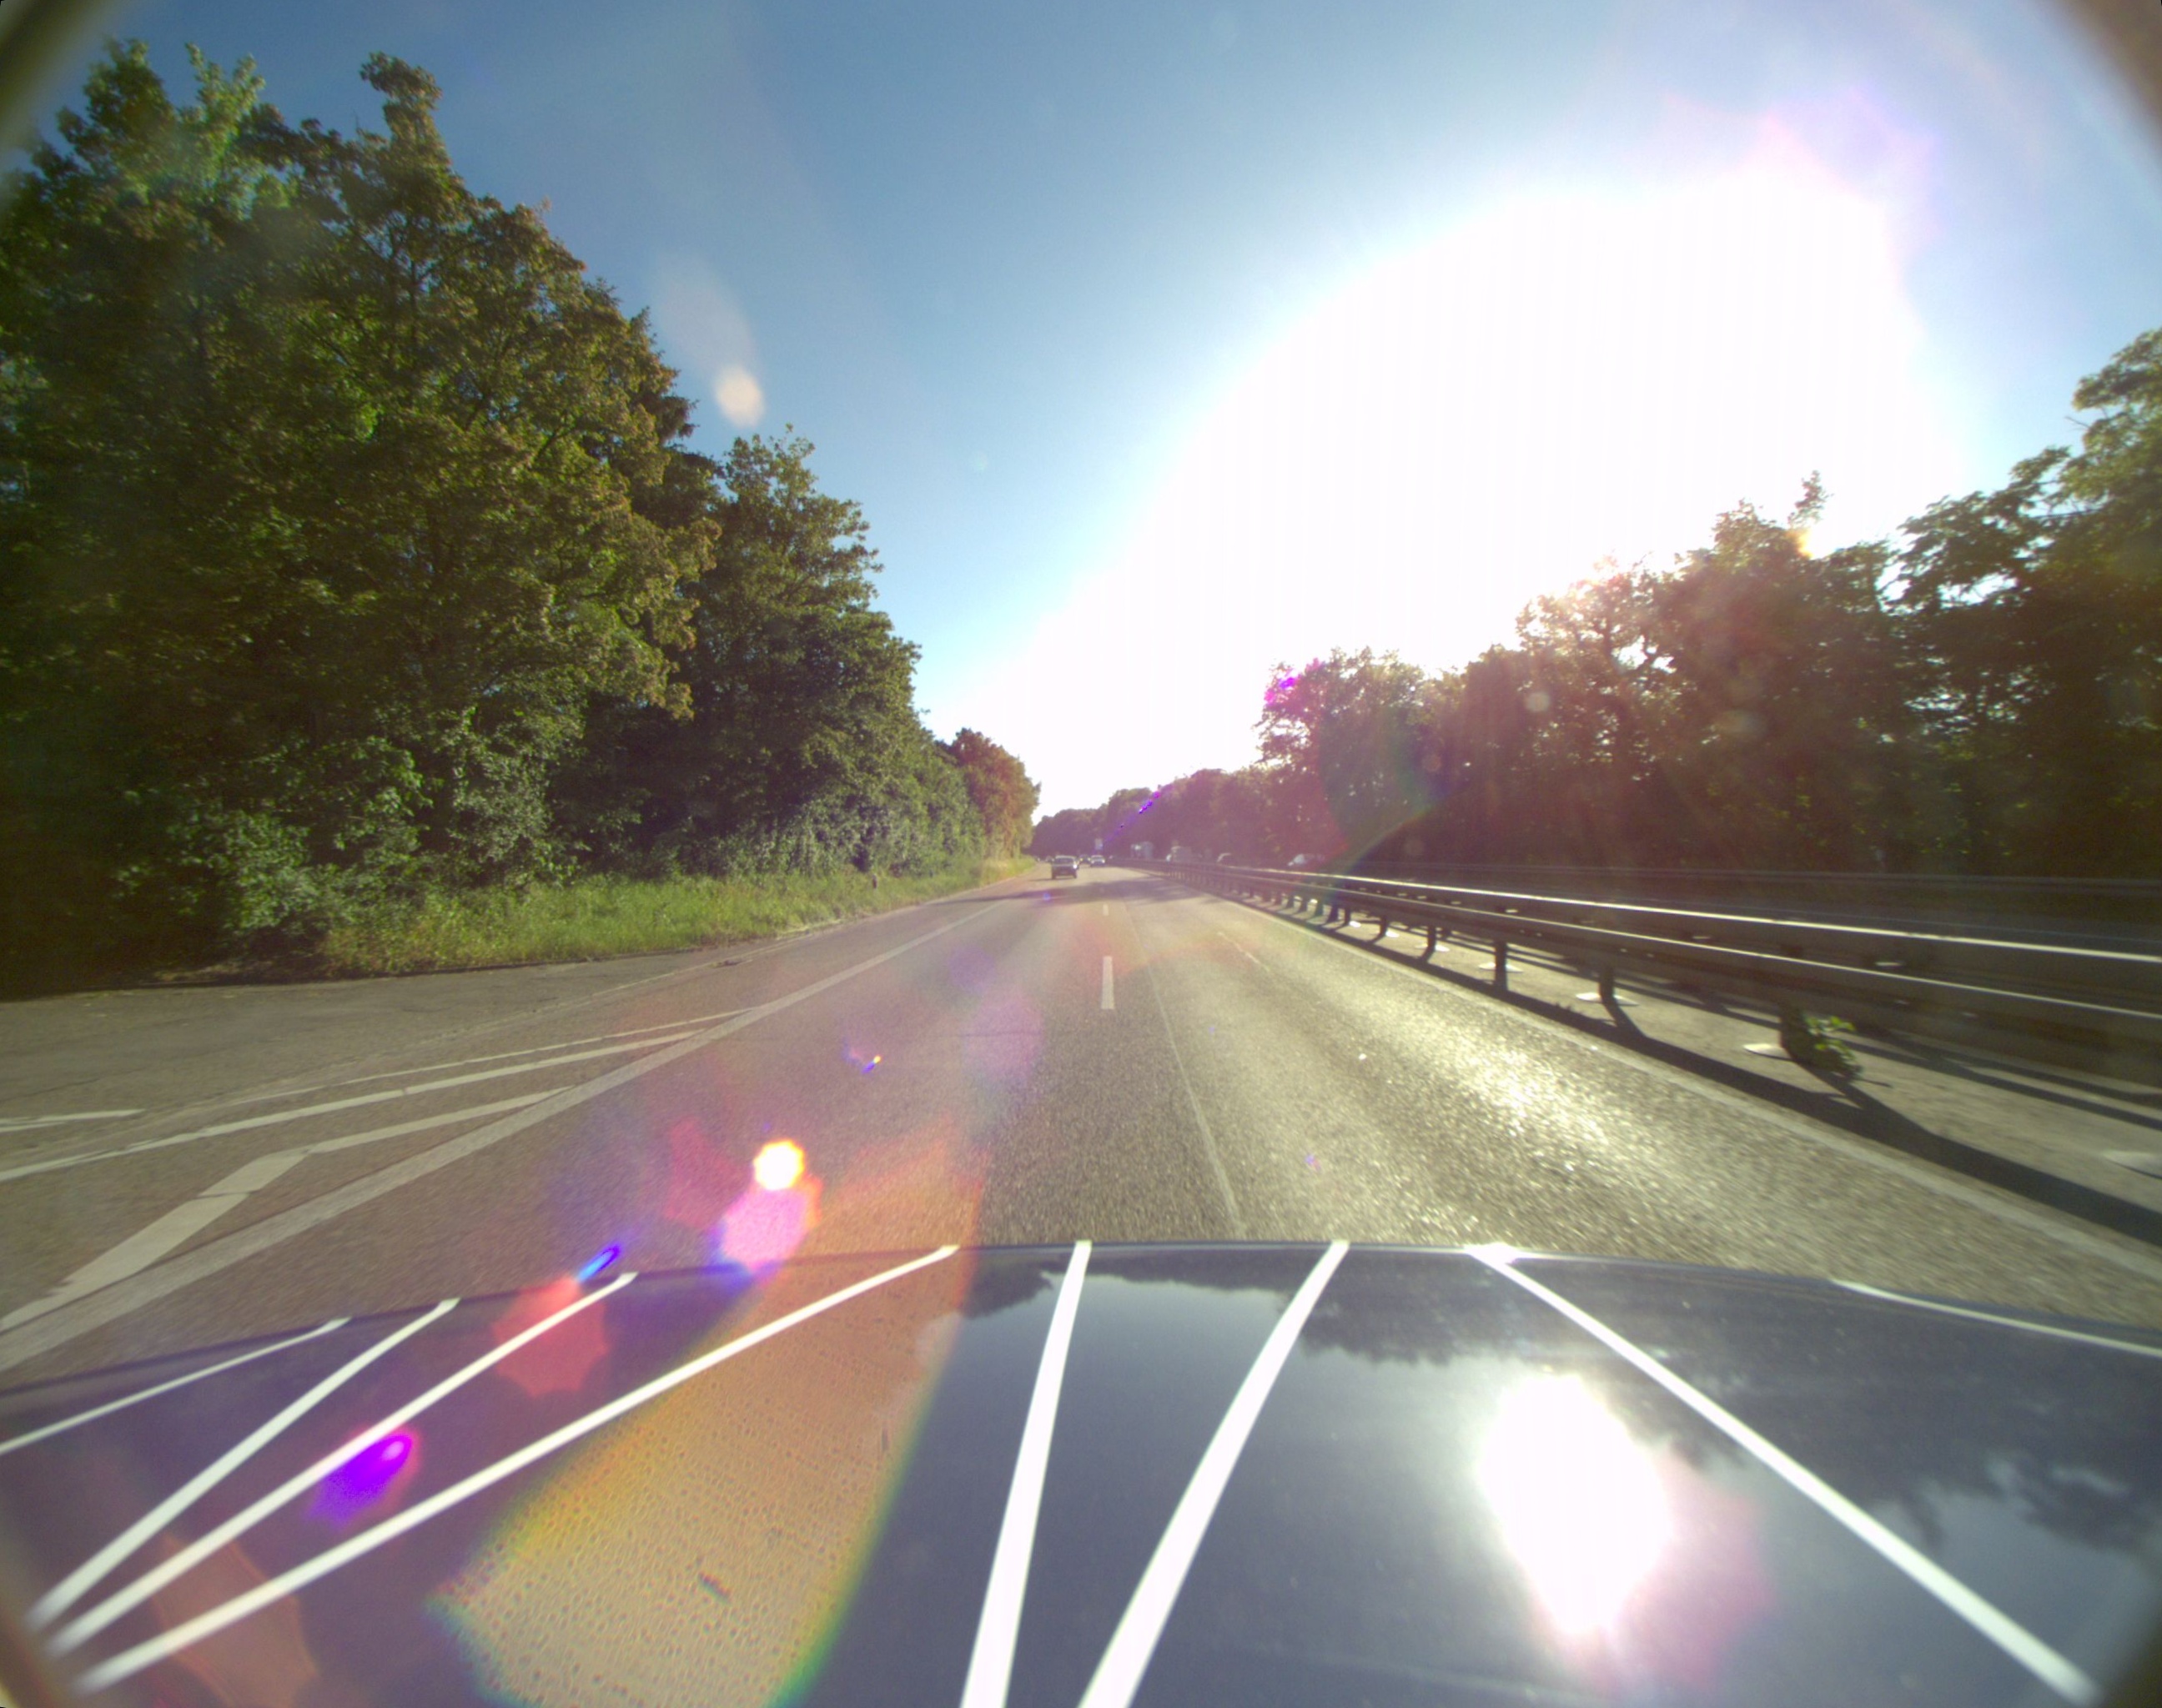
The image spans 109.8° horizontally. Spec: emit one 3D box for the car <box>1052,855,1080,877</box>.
[{"bbox_3d":[-1.029,0.815,53.880,1.801,1.453,4.355,-2,0,0],"label":"car"}]

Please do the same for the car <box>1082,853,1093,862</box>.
[{"bbox_3d":[1.081,0.581,132.748,1.800,1.453,4.356,-1,0,2],"label":"car"}]

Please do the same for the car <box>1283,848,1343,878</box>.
[{"bbox_3d":[14.744,0.506,48.646,2.124,1.715,5.876,-2,0,2],"label":"car"}]

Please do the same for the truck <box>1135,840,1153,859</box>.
[{"bbox_3d":[12.158,-0.848,147.343,2.988,3.609,6.155,0,0,0],"label":"truck"}]

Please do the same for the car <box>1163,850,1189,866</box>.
[{"bbox_3d":[10.632,0.444,85.307,2.077,1.738,5.223,-1,0,-2],"label":"car"}]

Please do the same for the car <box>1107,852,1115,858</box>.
[{"bbox_3d":[7.363,0.225,186.628,1.670,1.458,4.091,0,0,-3],"label":"car"}]

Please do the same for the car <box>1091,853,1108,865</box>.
[{"bbox_3d":[2.435,0.667,99.166,1.905,1.453,4.355,-1,0,-3],"label":"car"}]

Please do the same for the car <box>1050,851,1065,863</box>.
[{"bbox_3d":[-3.677,0.519,118.141,2.000,1.761,3.997,-1,0,-7],"label":"car"}]

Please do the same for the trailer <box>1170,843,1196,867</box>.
[{"bbox_3d":[10.744,0.142,80.405,1.999,2.423,4.605,-1,0,-2],"label":"trailer"}]

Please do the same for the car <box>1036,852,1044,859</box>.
[{"bbox_3d":[-12.163,0.337,226.229,2.000,2.002,3.997,-1,0,-6],"label":"car"}]

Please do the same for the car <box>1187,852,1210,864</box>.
[{"bbox_3d":[14.769,0.457,96.081,2.076,1.458,4.985,-2,0,0],"label":"car"}]

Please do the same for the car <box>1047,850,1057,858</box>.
[{"bbox_3d":[-6.955,0.026,182.773,2.000,1.761,3.997,-1,0,-7],"label":"car"}]

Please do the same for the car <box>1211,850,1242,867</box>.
[{"bbox_3d":[14.913,0.420,78.054,2.076,1.604,5.058,-2,0,0],"label":"car"}]

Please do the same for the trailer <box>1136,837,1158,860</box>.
[{"bbox_3d":[12.193,-1.008,141.191,3.060,3.974,10.971,0,0,0],"label":"trailer"}]
